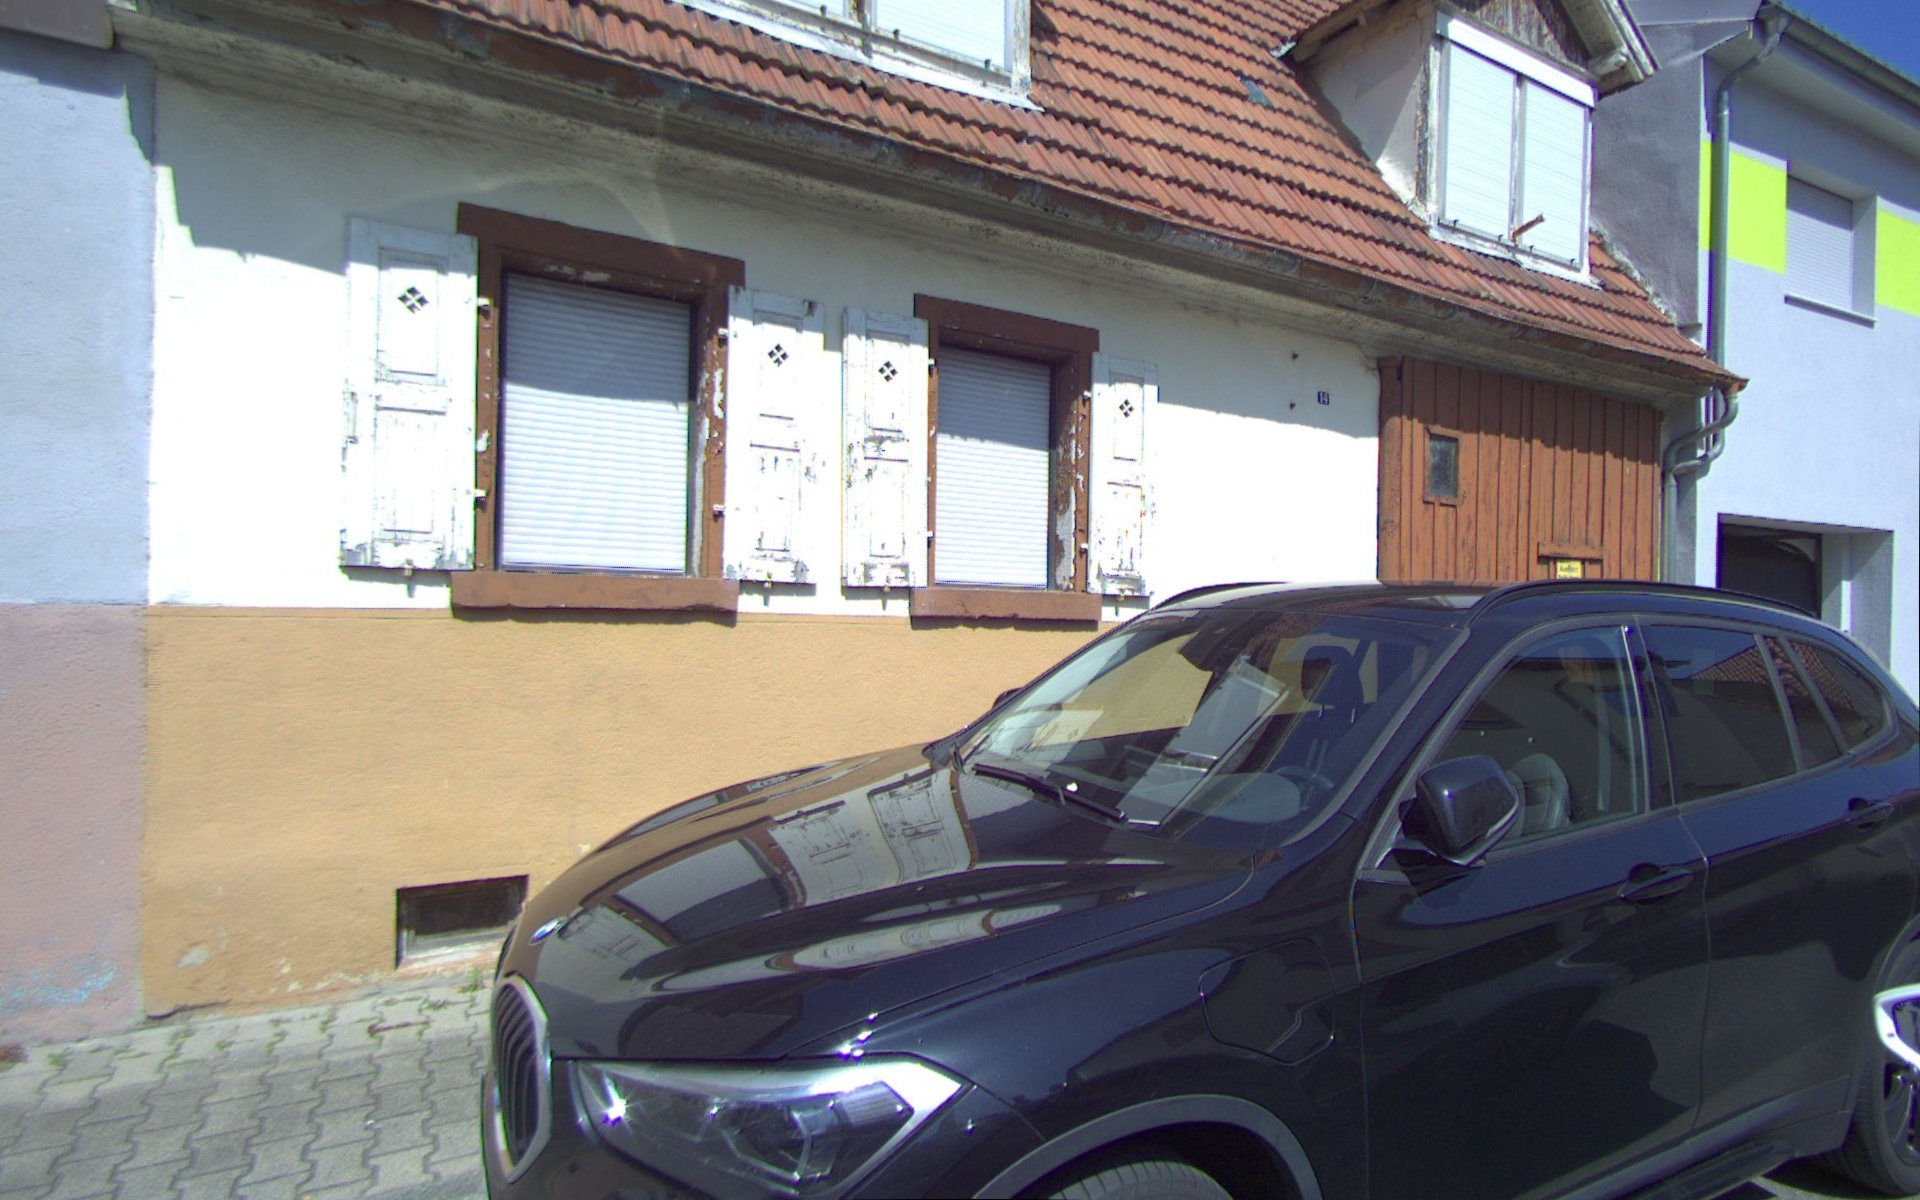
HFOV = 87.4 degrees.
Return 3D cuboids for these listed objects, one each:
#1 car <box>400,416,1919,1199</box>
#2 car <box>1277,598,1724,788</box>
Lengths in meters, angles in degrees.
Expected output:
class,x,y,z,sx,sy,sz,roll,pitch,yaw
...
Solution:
class,x,y,z,sx,sy,sz,roll,pitch,yaw
car,1.106,0.704,2.773,4.556,1.595,1.793,2,-2,-27
car,5.557,0.848,10.883,1.809,1.639,3.973,1,-1,-26
